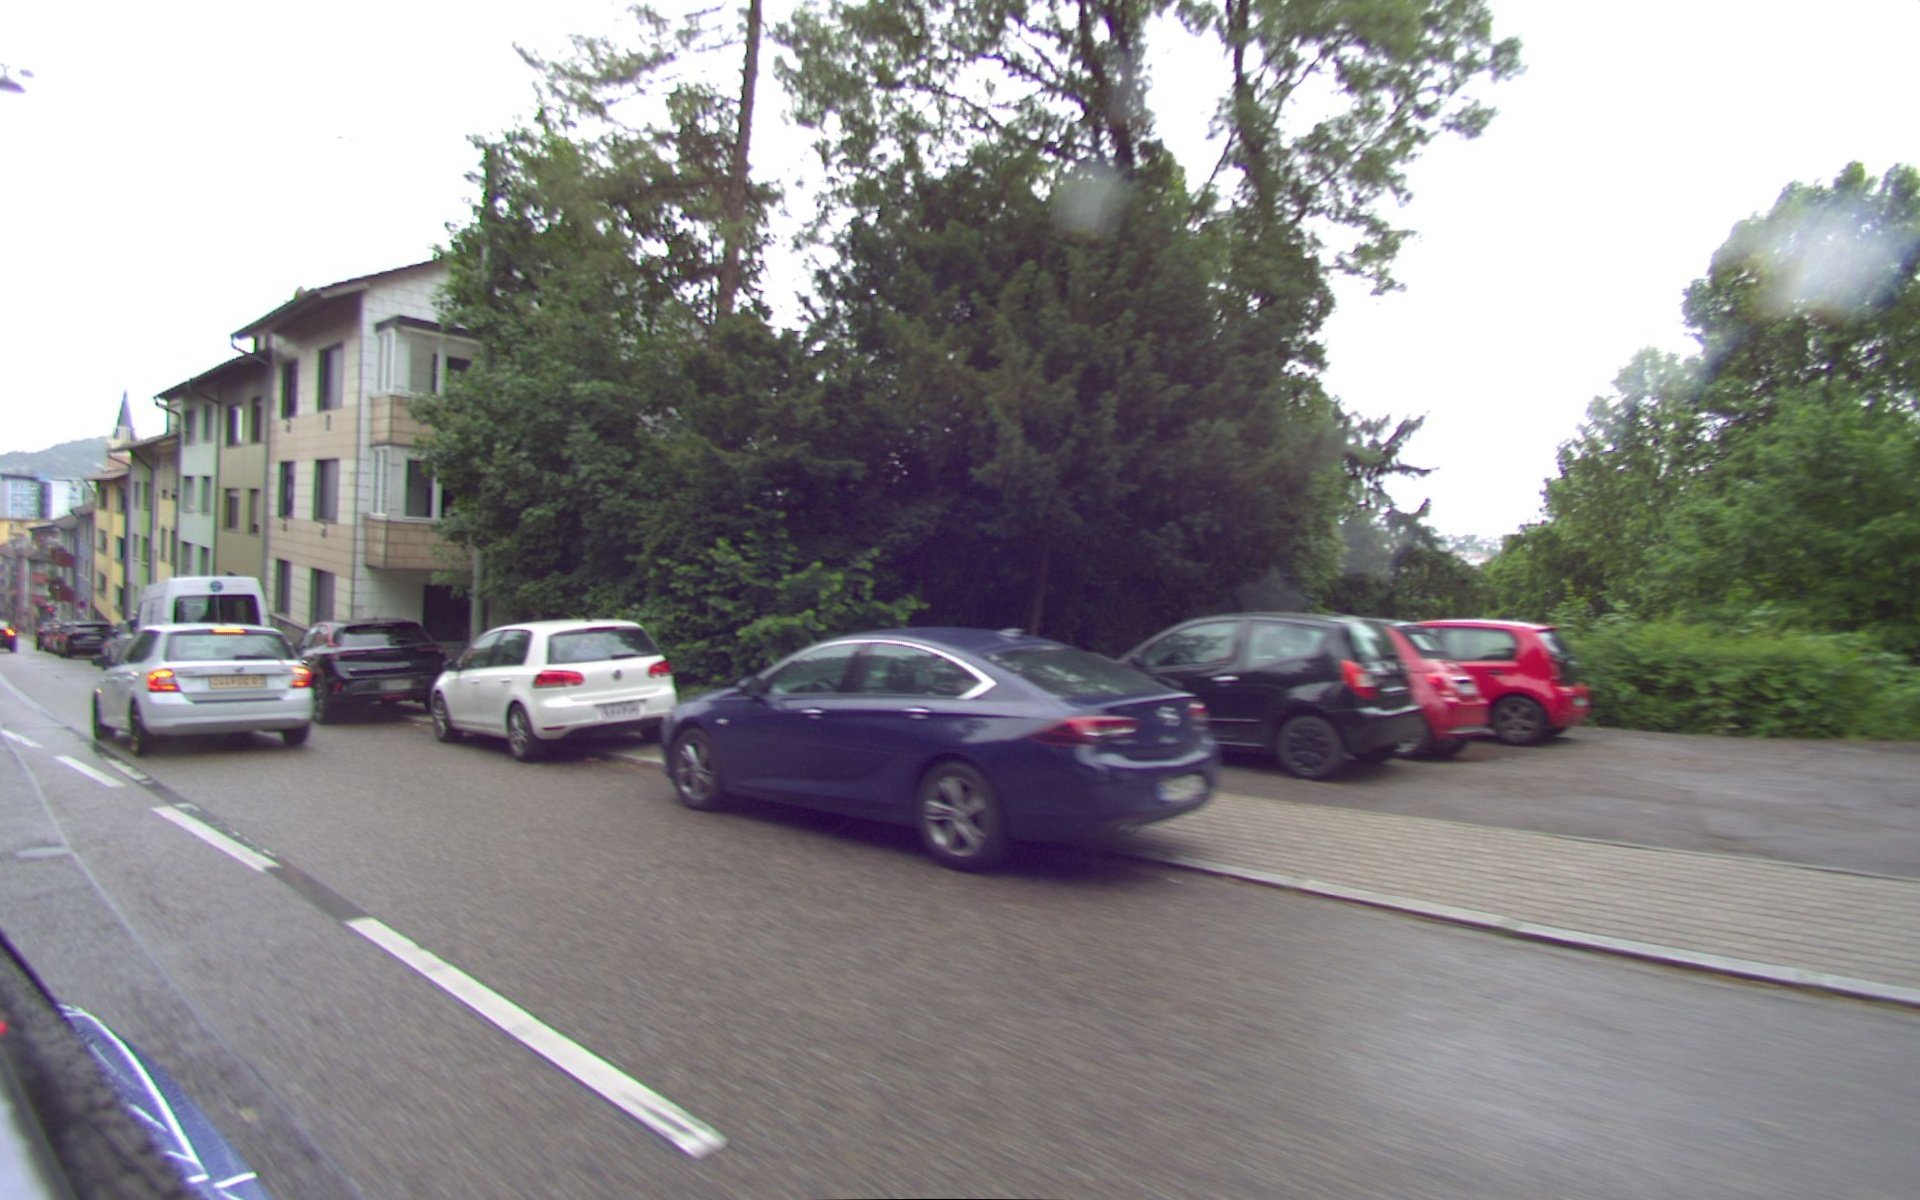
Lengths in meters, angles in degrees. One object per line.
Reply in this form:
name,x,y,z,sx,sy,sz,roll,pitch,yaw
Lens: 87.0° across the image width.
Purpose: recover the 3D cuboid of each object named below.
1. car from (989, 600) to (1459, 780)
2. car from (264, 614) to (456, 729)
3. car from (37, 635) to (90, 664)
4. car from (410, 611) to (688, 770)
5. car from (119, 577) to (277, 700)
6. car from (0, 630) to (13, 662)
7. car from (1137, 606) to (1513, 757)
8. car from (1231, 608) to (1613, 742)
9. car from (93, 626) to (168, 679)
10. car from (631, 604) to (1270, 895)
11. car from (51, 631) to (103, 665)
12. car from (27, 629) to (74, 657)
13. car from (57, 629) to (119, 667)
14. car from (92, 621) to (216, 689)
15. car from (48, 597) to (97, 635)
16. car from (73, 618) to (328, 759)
car,2.509,0.798,10.409,4.396,1.470,1.704,-2,-2,43
car,-9.759,1.094,16.314,1.625,1.616,4.188,4,-4,-45
car,-49.503,2.717,55.862,4.002,1.548,1.882,-2,-3,45
car,-5.076,0.980,12.201,1.637,1.581,4.151,2,-3,-45
car,-18.100,0.925,23.920,5.446,2.570,2.093,-2,-4,45
car,-51.468,2.415,53.467,1.914,1.637,4.502,1,-2,-45
car,4.099,0.846,11.737,3.774,1.470,1.603,-2,-2,43
car,5.847,0.887,13.180,4.242,1.470,1.578,-2,-2,43
car,-26.827,1.663,32.677,4.385,1.627,1.395,-2,-3,45
car,-0.334,0.894,7.558,4.754,1.505,1.840,-2,-5,42
car,-44.313,2.377,50.756,4.057,1.606,1.664,-2,-3,45
car,-56.120,2.626,62.426,4.330,1.669,1.882,-2,-3,45
car,-38.955,2.133,45.189,4.001,1.606,1.673,-2,-3,44
car,-22.749,1.517,28.494,4.885,1.753,1.944,-2,-4,43
car,-62.672,1.182,71.453,5.446,2.570,2.093,-2,-4,45
car,-9.380,1.001,12.395,3.911,1.446,1.706,-2,-4,42
